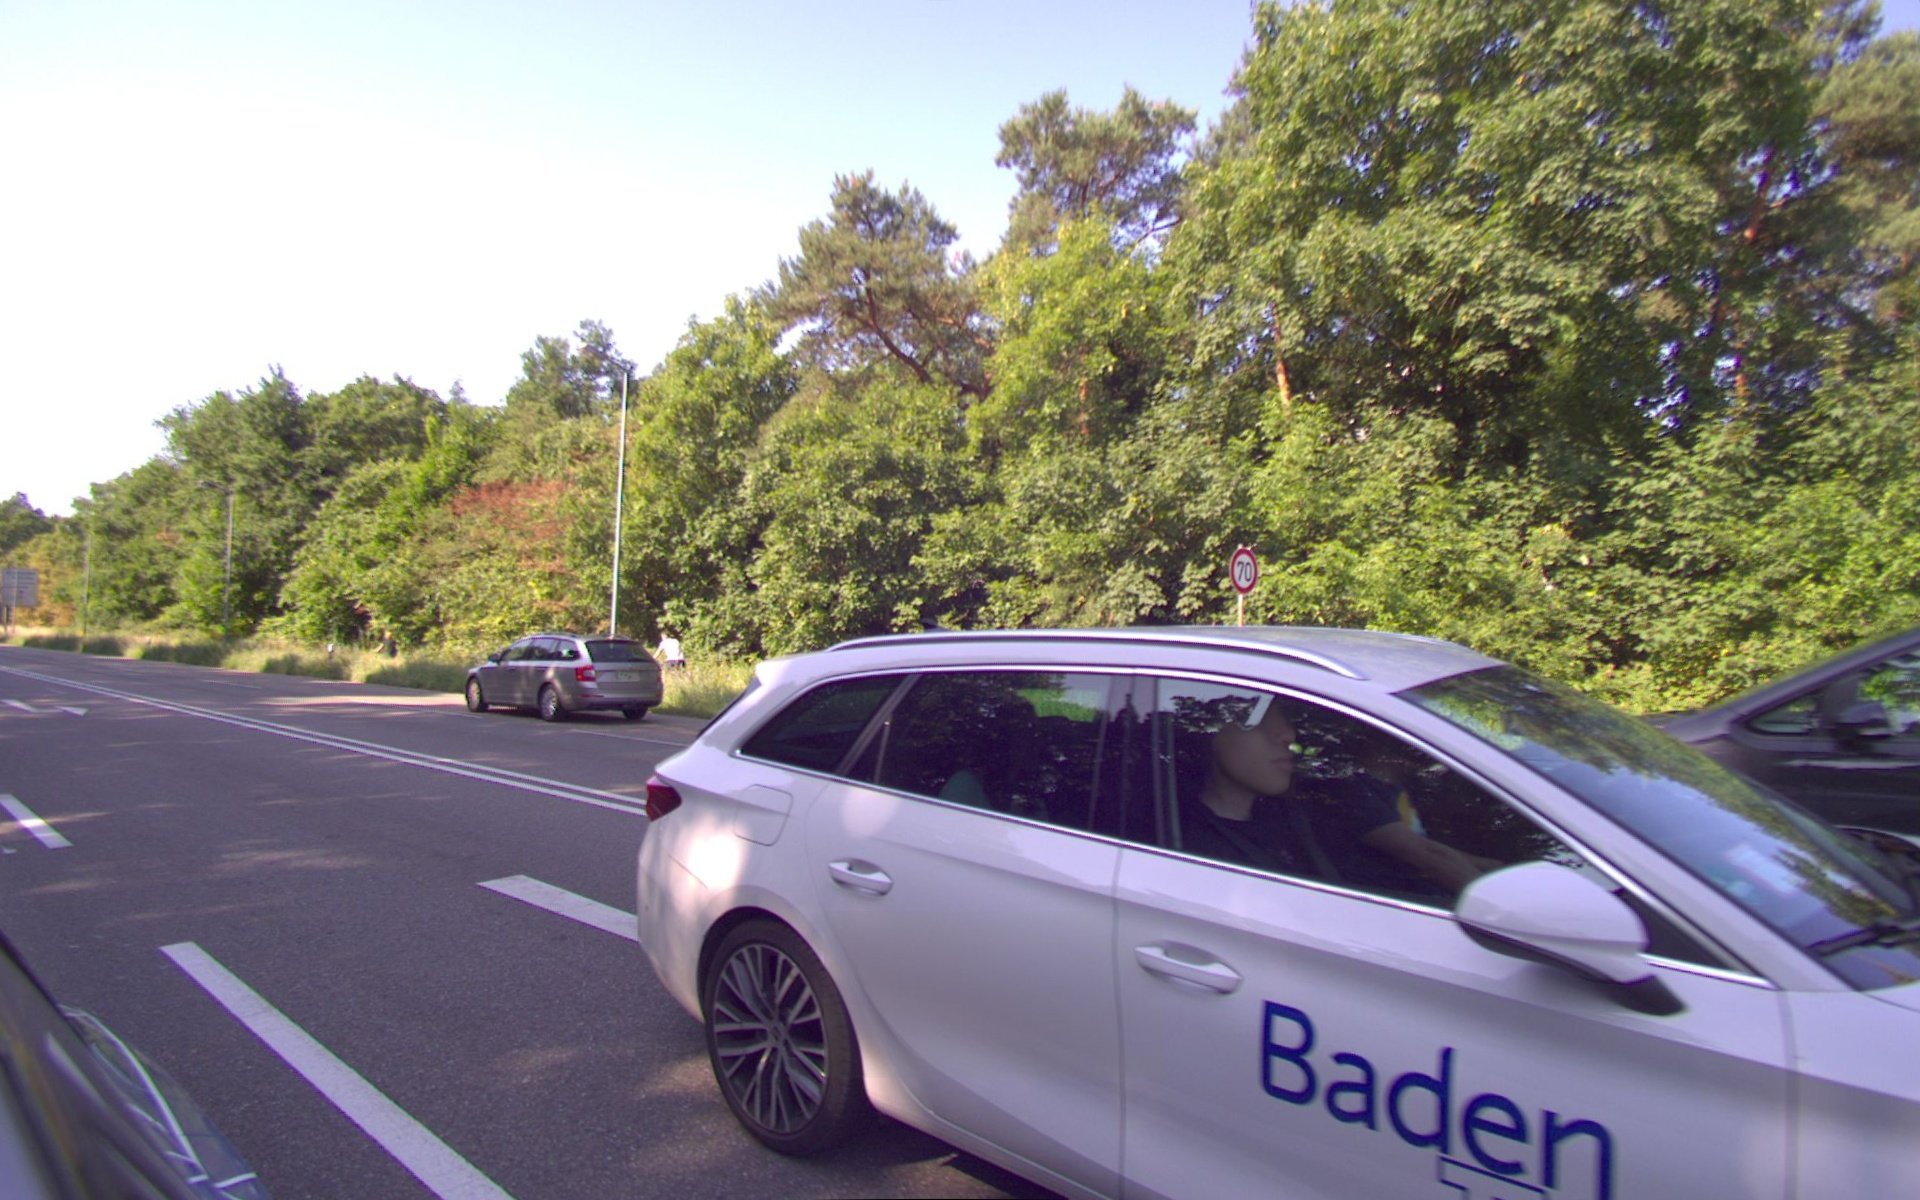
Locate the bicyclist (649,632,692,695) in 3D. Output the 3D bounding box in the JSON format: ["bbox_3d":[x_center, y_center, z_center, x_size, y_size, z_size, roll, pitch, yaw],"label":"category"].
[{"bbox_3d":[-7.063,1.536,24.685,0.944,1.477,0.604,-1,-1,42],"label":"bicyclist"}]

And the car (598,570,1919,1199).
[{"bbox_3d":[1.087,0.705,2.446,4.420,1.435,1.766,-2,-1,41],"label":"car"}]

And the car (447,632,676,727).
[{"bbox_3d":[-6.989,1.312,17.561,4.456,1.444,1.686,-2,-4,39],"label":"car"}]

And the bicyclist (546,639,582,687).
[{"bbox_3d":[-10.977,1.728,28.043,0.727,1.273,0.693,-1,-1,42],"label":"bicyclist"}]

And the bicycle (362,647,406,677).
[{"bbox_3d":[-20.255,2.174,35.596,1.911,0.963,0.668,-1,-1,38],"label":"bicycle"}]

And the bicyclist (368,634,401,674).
[{"bbox_3d":[-20.237,1.888,35.585,0.974,1.353,0.668,-1,-1,38],"label":"bicyclist"}]

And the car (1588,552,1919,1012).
[{"bbox_3d":[5.013,0.715,3.724,4.389,1.710,1.772,-1,-4,41],"label":"car"}]
